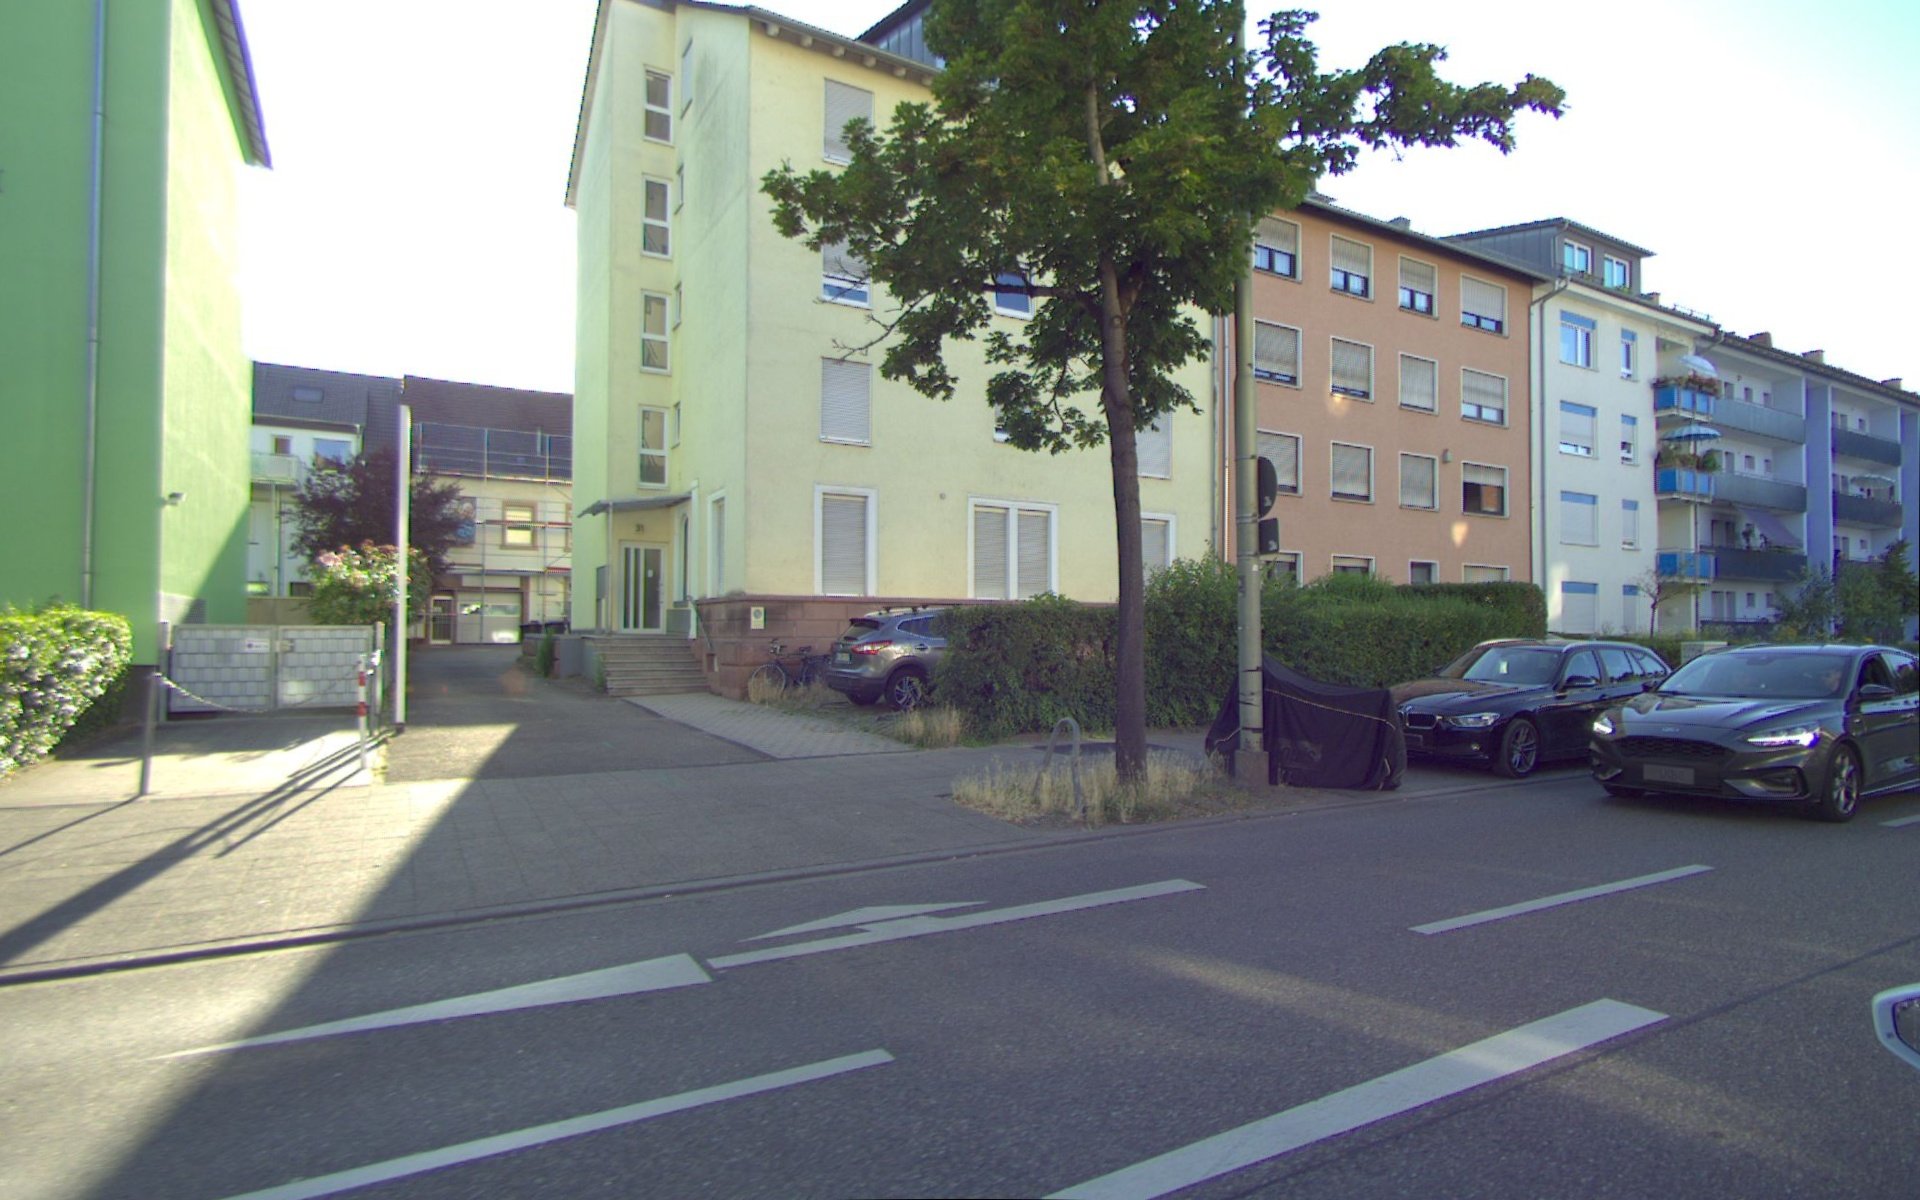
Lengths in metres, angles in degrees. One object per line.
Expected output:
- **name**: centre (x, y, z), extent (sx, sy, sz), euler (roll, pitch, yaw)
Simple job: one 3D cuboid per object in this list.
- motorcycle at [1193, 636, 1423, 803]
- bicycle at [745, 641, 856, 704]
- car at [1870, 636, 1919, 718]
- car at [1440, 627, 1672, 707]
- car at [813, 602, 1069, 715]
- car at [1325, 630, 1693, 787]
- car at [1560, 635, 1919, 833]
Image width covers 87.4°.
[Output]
- **motorcycle**: centre (3.460, 1.116, 9.999), extent (1.991, 1.407, 0.989), euler (2, 0, 29)
- **bicycle**: centre (-2.932, 1.323, 18.560), extent (1.975, 1.103, 0.482), euler (1, -1, -30)
- **car**: centre (19.498, 1.485, 19.534), extent (3.769, 1.492, 1.604), euler (1, 0, -31)
- **car**: centre (12.990, 1.395, 22.138), extent (1.893, 1.432, 3.969), euler (1, 0, -29)
- **car**: centre (-0.287, 0.959, 16.968), extent (3.954, 1.705, 1.818), euler (2, -2, -31)
- **car**: centre (6.557, 1.147, 11.862), extent (4.535, 1.524, 1.770), euler (2, -1, -31)
- **car**: centre (7.705, 1.099, 9.406), extent (4.242, 1.490, 1.693), euler (2, -3, -29)
